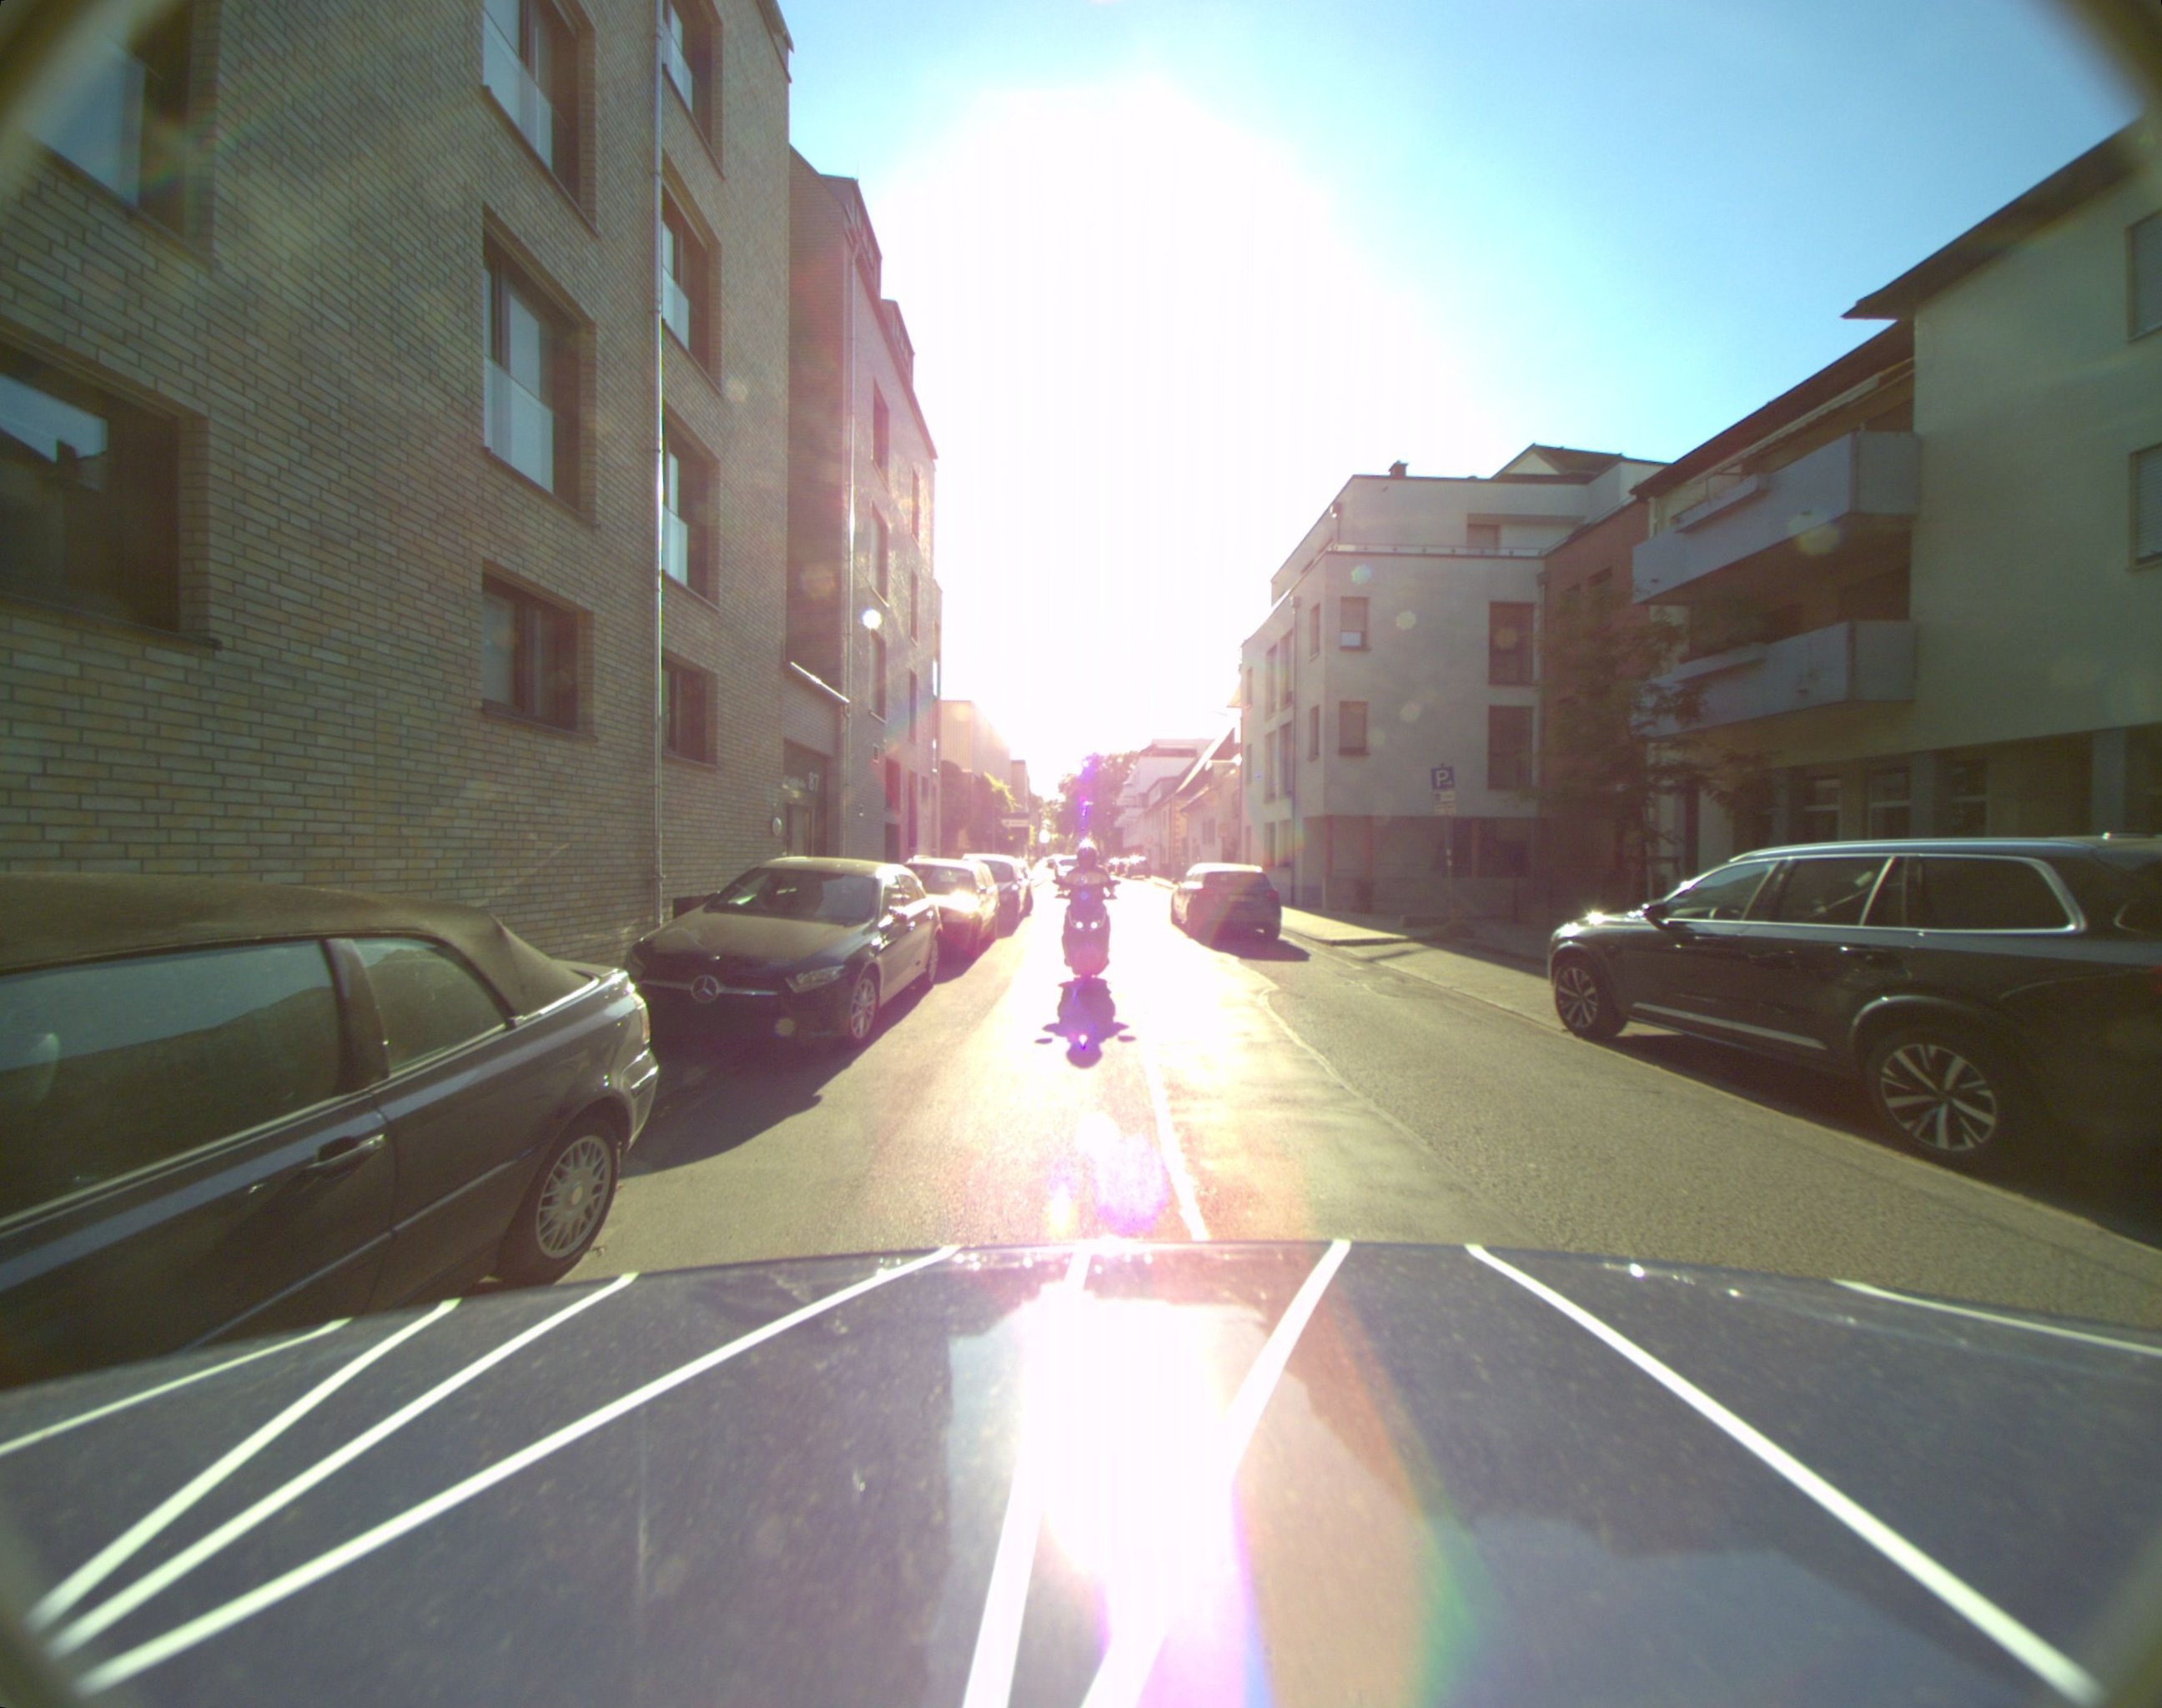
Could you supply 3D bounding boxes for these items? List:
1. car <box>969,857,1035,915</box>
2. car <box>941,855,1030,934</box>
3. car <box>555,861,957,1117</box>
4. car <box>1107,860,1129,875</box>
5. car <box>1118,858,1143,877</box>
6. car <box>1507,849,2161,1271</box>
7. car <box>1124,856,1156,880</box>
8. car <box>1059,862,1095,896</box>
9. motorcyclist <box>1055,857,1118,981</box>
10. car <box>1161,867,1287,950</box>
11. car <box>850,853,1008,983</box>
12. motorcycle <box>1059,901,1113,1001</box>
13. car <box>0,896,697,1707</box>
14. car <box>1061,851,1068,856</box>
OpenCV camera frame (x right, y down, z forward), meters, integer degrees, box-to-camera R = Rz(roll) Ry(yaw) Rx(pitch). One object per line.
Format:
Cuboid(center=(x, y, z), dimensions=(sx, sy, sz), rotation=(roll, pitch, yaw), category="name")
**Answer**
Cuboid(center=(-2.234, 0.878, 22.327), dimensions=(1.732, 1.515, 3.653), rotation=(1, 0, -3), category="car")
Cuboid(center=(-2.111, 0.855, 17.859), dimensions=(1.655, 1.582, 4.341), rotation=(2, 0, -2), category="car")
Cuboid(center=(-2.517, 0.906, 7.302), dimensions=(1.729, 1.520, 4.626), rotation=(4, 0, 1), category="car")
Cuboid(center=(3.827, 1.425, 79.017), dimensions=(1.999, 1.458, 4.000), rotation=(1, 0, 0), category="car")
Cuboid(center=(4.460, 1.193, 68.847), dimensions=(1.999, 1.613, 4.000), rotation=(1, 0, 0), category="car")
Cuboid(center=(5.467, 0.849, 5.486), dimensions=(1.936, 1.695, 5.100), rotation=(-2, 0, 1), category="car")
Cuboid(center=(4.621, 1.048, 60.176), dimensions=(1.999, 1.619, 4.000), rotation=(-6, 0, 0), category="car")
Cuboid(center=(-0.205, 1.241, 39.200), dimensions=(1.708, 1.569, 3.915), rotation=(-2, 0, -1), category="car")
Cuboid(center=(0.069, 0.757, 9.218), dimensions=(0.717, 1.424, 0.746), rotation=(1, 1, 1), category="motorcyclist")
Cuboid(center=(2.884, 1.046, 16.172), dimensions=(1.812, 1.458, 3.999), rotation=(1, 0, -2), category="car")
Cuboid(center=(-2.274, 0.865, 12.611), dimensions=(1.671, 1.723, 4.838), rotation=(1, 0, 0), category="car")
Cuboid(center=(0.069, 1.147, 9.451), dimensions=(0.598, 1.004, 1.821), rotation=(1, 0, 1), category="motorcycle")
Cuboid(center=(-2.626, 0.985, 1.443), dimensions=(1.668, 1.507, 4.218), rotation=(2, 0, -1), category="car")
Cuboid(center=(-4.899, -0.232, 225.966), dimensions=(1.998, 1.346, 4.000), rotation=(1, 0, 0), category="car")
